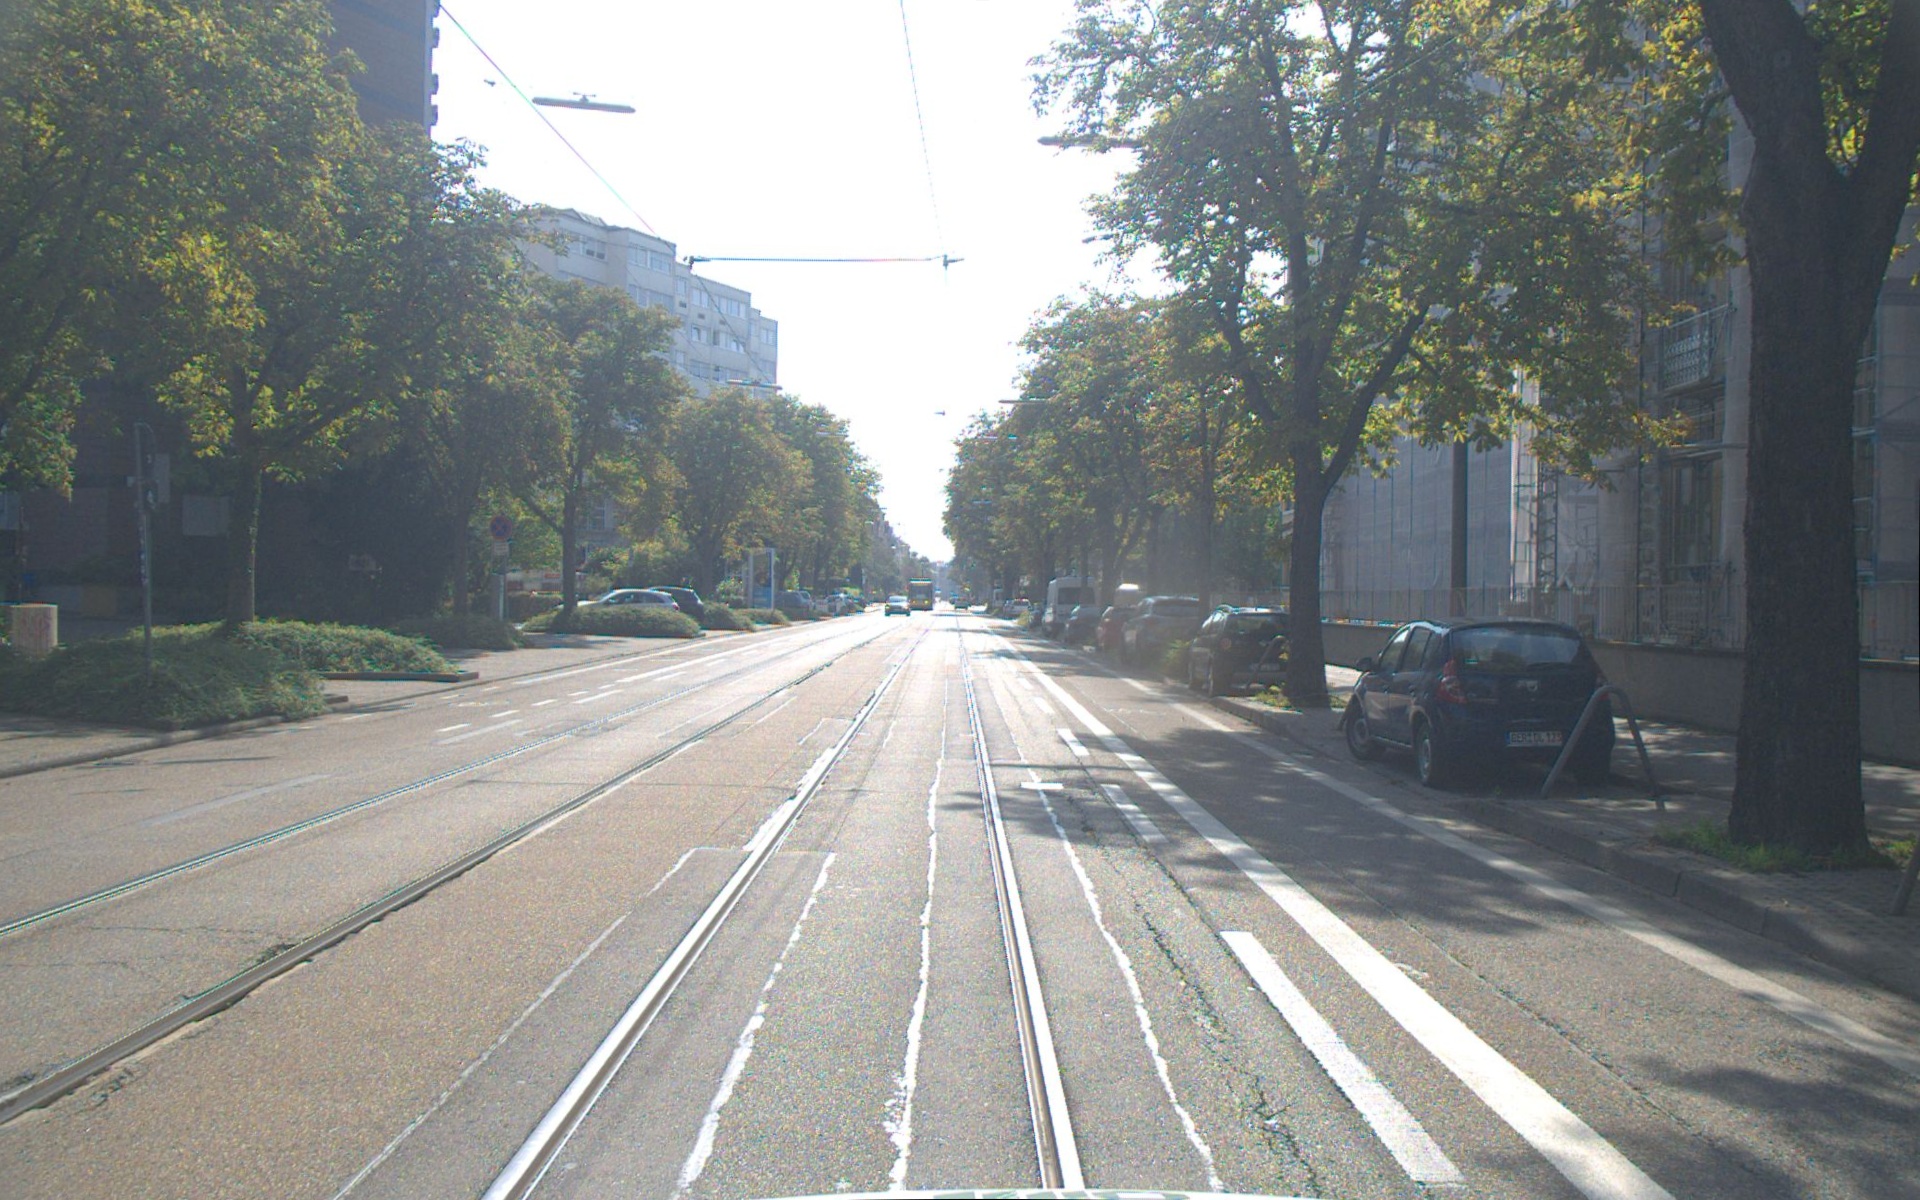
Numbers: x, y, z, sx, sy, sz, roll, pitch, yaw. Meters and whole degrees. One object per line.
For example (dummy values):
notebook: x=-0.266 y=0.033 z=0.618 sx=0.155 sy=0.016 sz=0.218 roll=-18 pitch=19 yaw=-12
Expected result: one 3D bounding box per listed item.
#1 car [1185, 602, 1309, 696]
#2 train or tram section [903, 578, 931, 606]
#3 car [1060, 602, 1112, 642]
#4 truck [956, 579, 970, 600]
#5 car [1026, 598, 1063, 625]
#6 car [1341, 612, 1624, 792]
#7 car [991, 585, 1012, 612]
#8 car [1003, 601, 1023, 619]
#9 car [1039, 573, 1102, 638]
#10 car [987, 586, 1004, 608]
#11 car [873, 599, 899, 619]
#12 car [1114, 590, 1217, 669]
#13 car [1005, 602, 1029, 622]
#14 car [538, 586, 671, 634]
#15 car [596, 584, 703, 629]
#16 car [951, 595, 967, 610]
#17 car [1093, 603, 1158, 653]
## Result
car: x=4.998 y=0.808 z=29.225 sx=1.543 sy=1.511 sz=3.738 roll=-1 pitch=0 yaw=0
train or tram section: x=-4.673 y=-0.777 z=181.757 sx=2.673 sy=2.945 sz=15.453 roll=1 pitch=0 yaw=0
car: x=4.546 y=0.760 z=60.265 sx=1.583 sy=1.398 sz=4.827 roll=0 pitch=0 yaw=0
truck: x=0.447 y=-1.534 z=254.455 sx=1.823 sy=3.185 sz=4.350 roll=1 pitch=0 yaw=-2
car: x=4.566 y=0.629 z=89.897 sx=1.717 sy=1.402 sz=4.718 roll=-1 pitch=0 yaw=0
car: x=5.032 y=0.910 z=16.440 sx=1.612 sy=1.537 sz=3.778 roll=-1 pitch=0 yaw=0
car: x=4.146 y=-0.152 z=165.083 sx=1.963 sy=2.534 sz=4.476 roll=1 pitch=-1 yaw=0
car: x=4.342 y=0.857 z=136.782 sx=1.562 sy=1.443 sz=3.634 roll=1 pitch=0 yaw=1
car: x=4.668 y=0.226 z=70.607 sx=2.040 sy=2.597 sz=5.499 roll=-3 pitch=0 yaw=-2
car: x=4.125 y=-0.352 z=192.039 sx=1.963 sy=2.518 sz=4.477 roll=1 pitch=0 yaw=1
car: x=-5.392 y=0.627 z=121.327 sx=1.791 sy=1.400 sz=4.511 roll=1 pitch=0 yaw=-1
car: x=4.841 y=0.652 z=39.513 sx=1.718 sy=1.721 sz=4.394 roll=1 pitch=0 yaw=-2
car: x=4.237 y=0.918 z=123.198 sx=1.655 sy=1.443 sz=3.634 roll=1 pitch=0 yaw=1
car: x=-11.684 y=0.324 z=54.394 sx=3.945 sy=1.505 sz=1.771 roll=1 pitch=0 yaw=-30
car: x=-11.483 y=0.240 z=61.229 sx=3.588 sy=1.542 sz=1.608 roll=2 pitch=0 yaw=-26
car: x=-0.123 y=0.325 z=204.706 sx=1.952 sy=1.870 sz=4.000 roll=1 pitch=0 yaw=1
car: x=4.992 y=0.815 z=50.216 sx=1.583 sy=1.438 sz=4.000 roll=0 pitch=0 yaw=0
